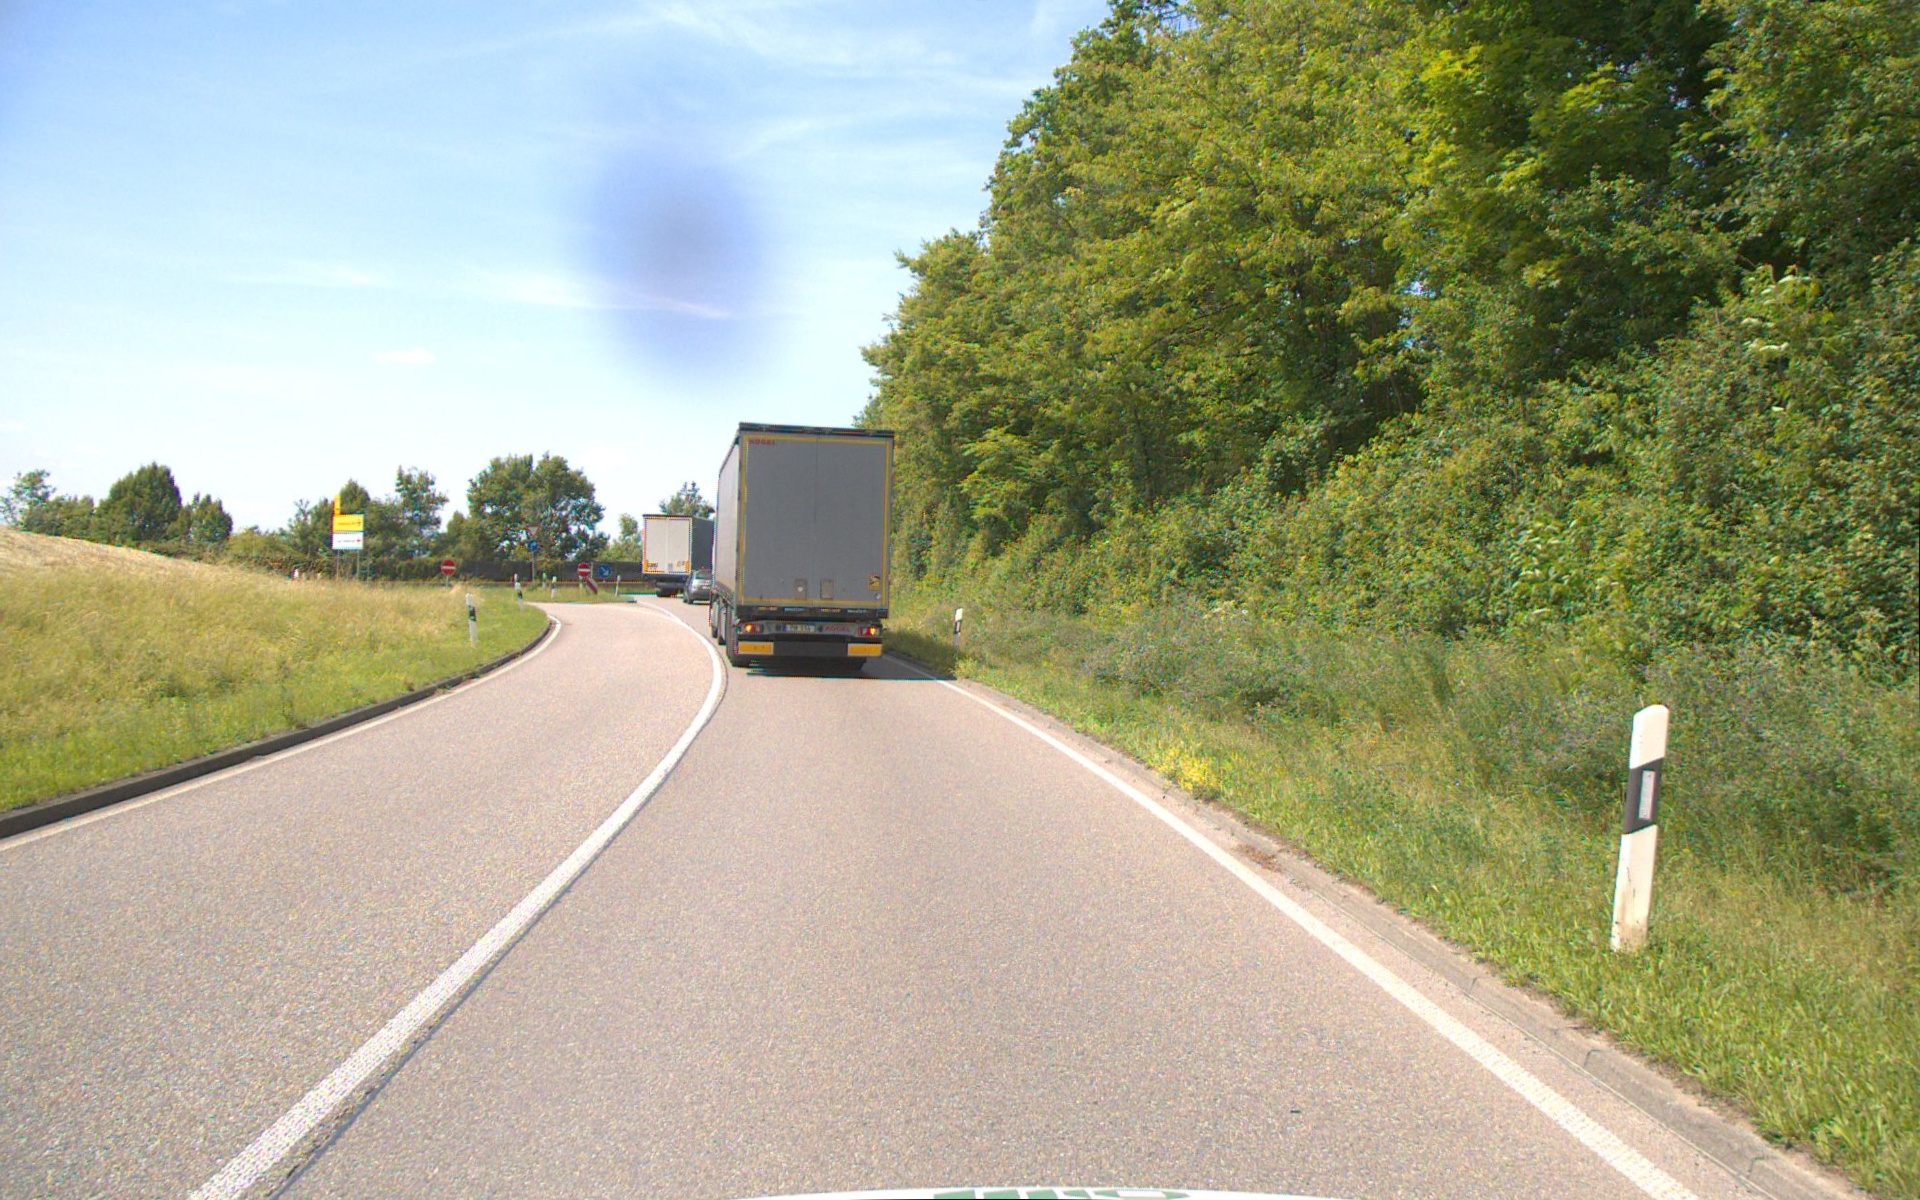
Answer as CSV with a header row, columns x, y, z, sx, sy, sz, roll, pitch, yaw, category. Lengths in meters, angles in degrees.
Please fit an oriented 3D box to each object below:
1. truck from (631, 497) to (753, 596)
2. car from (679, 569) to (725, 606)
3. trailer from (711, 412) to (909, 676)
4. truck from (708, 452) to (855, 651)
x,y,z,sx,sy,sz,roll,pitch,yaw,category
-14.228,-2.724,89.624,3.749,4.827,16.205,1,1,1,truck
-11.217,-0.561,71.783,1.637,1.512,3.987,1,1,-13,car
-3.370,-0.914,32.946,2.971,4.105,13.324,2,0,-9,trailer
-4.469,-1.066,40.051,3.095,4.298,7.107,2,0,-9,truck
